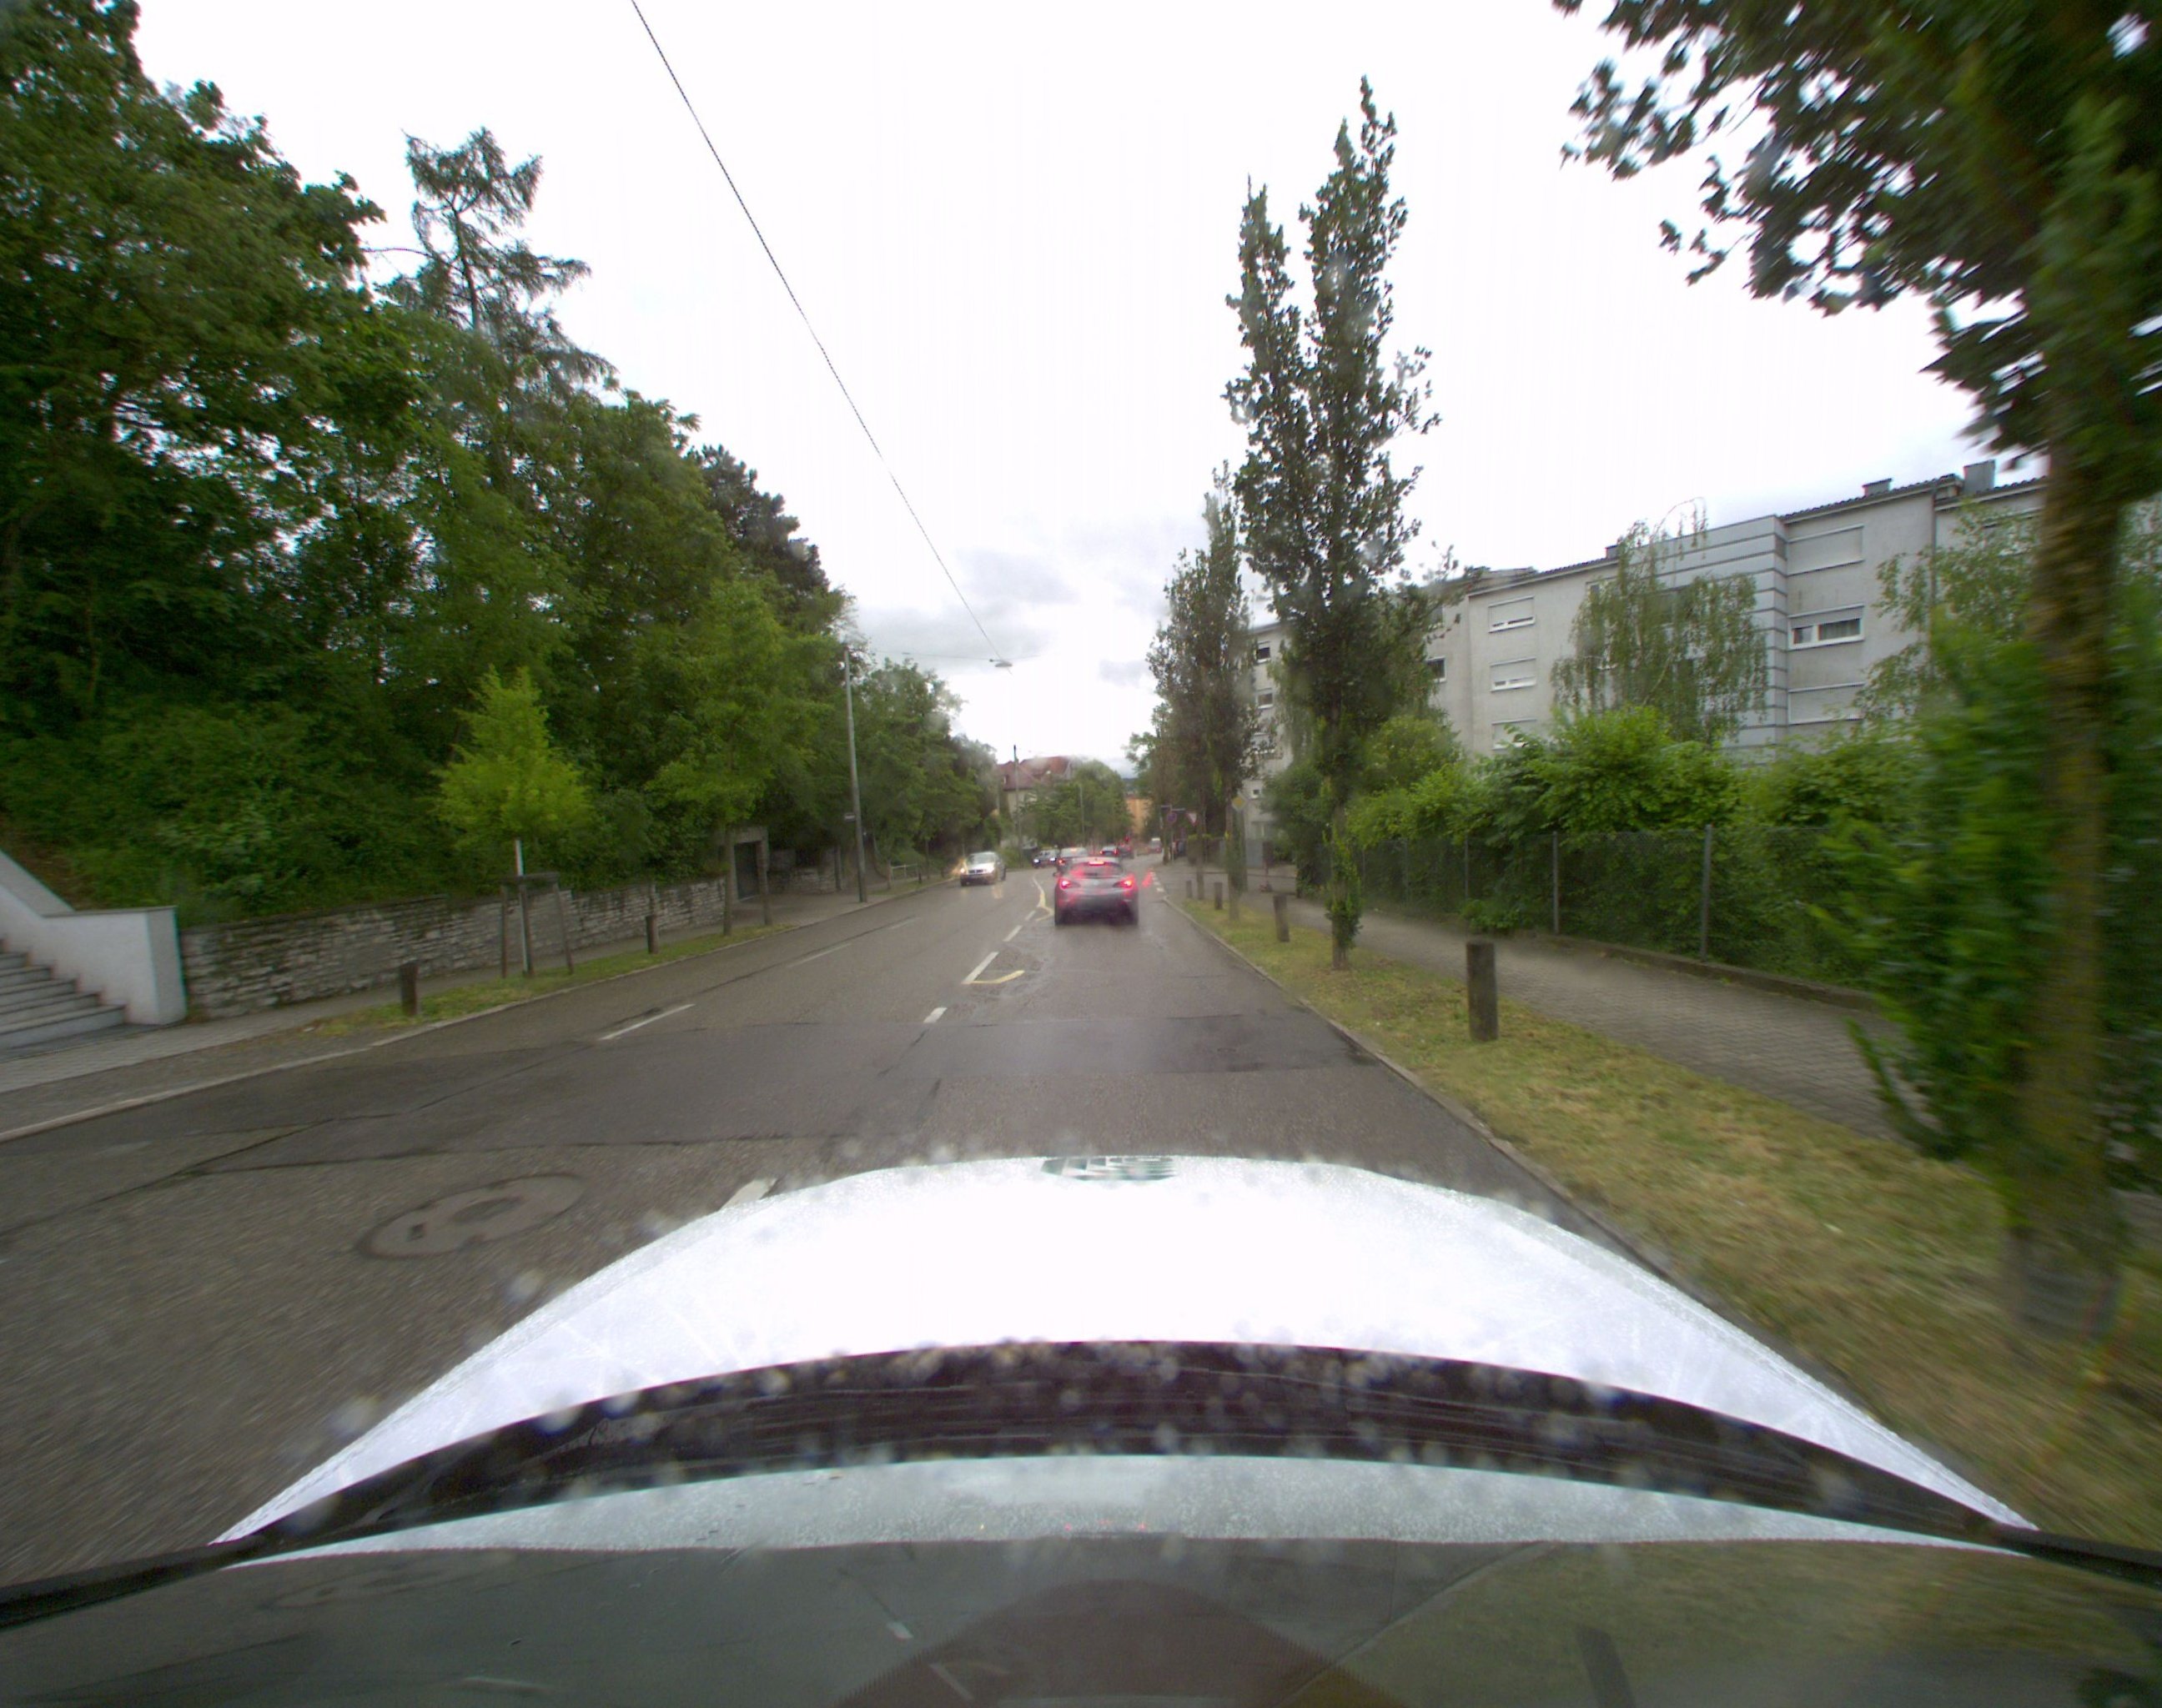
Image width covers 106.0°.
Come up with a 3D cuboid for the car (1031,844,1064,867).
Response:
[{"bbox_3d":[-2.563,0.102,63.198,1.903,1.585,4.592,-6,0,4],"label":"car"}]

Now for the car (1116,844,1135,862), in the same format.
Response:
[{"bbox_3d":[4.671,-0.081,85.309,1.759,1.781,3.985,0,1,7],"label":"car"}]

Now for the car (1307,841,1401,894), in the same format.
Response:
[{"bbox_3d":[8.192,0.357,24.811,1.499,1.435,4.000,1,1,0],"label":"car"}]

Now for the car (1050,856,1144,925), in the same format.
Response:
[{"bbox_3d":[0.386,0.762,18.825,1.938,1.432,3.885,0,0,1],"label":"car"}]

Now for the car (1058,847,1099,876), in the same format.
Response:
[{"bbox_3d":[-0.061,0.335,41.109,1.790,1.323,4.004,-1,0,3],"label":"car"}]

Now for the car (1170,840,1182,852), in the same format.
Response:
[{"bbox_3d":[16.748,-1.477,143.566,1.982,2.036,4.747,0,1,9],"label":"car"}]

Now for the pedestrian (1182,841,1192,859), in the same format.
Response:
[{"bbox_3d":[10.648,-0.406,81.965,0.665,1.836,0.685,-5,0,-17],"label":"pedestrian"}]

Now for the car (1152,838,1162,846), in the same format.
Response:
[{"bbox_3d":[17.586,-2.696,189.044,1.982,1.784,4.011,0,1,9],"label":"car"}]

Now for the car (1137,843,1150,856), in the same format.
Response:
[{"bbox_3d":[8.703,-0.620,113.193,1.745,1.651,4.008,0,0,7],"label":"car"}]

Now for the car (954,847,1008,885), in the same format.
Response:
[{"bbox_3d":[-4.597,0.521,37.913,1.757,1.486,3.805,-4,1,3],"label":"car"}]

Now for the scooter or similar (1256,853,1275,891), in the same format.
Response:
[{"bbox_3d":[6.251,0.613,27.635,0.341,1.254,1.267,0,-1,0],"label":"scooter or similar"}]

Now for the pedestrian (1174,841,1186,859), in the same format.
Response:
[{"bbox_3d":[9.912,-0.354,81.635,0.736,1.723,0.761,-5,0,-17],"label":"pedestrian"}]

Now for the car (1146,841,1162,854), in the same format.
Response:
[{"bbox_3d":[12.249,-1.073,136.175,2.320,2.036,4.747,0,1,9],"label":"car"}]

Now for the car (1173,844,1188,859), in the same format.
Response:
[{"bbox_3d":[10.343,-0.226,84.485,1.495,1.435,4.008,-3,0,7],"label":"car"}]

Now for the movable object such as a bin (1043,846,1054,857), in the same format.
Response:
[{"bbox_3d":[-3.961,-0.307,98.889,1.265,1.387,0.490,-1,1,6],"label":"movable object such as a bin"}]

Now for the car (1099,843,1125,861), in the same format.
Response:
[{"bbox_3d":[2.715,-0.190,71.458,1.950,1.472,3.959,0,1,7],"label":"car"}]
